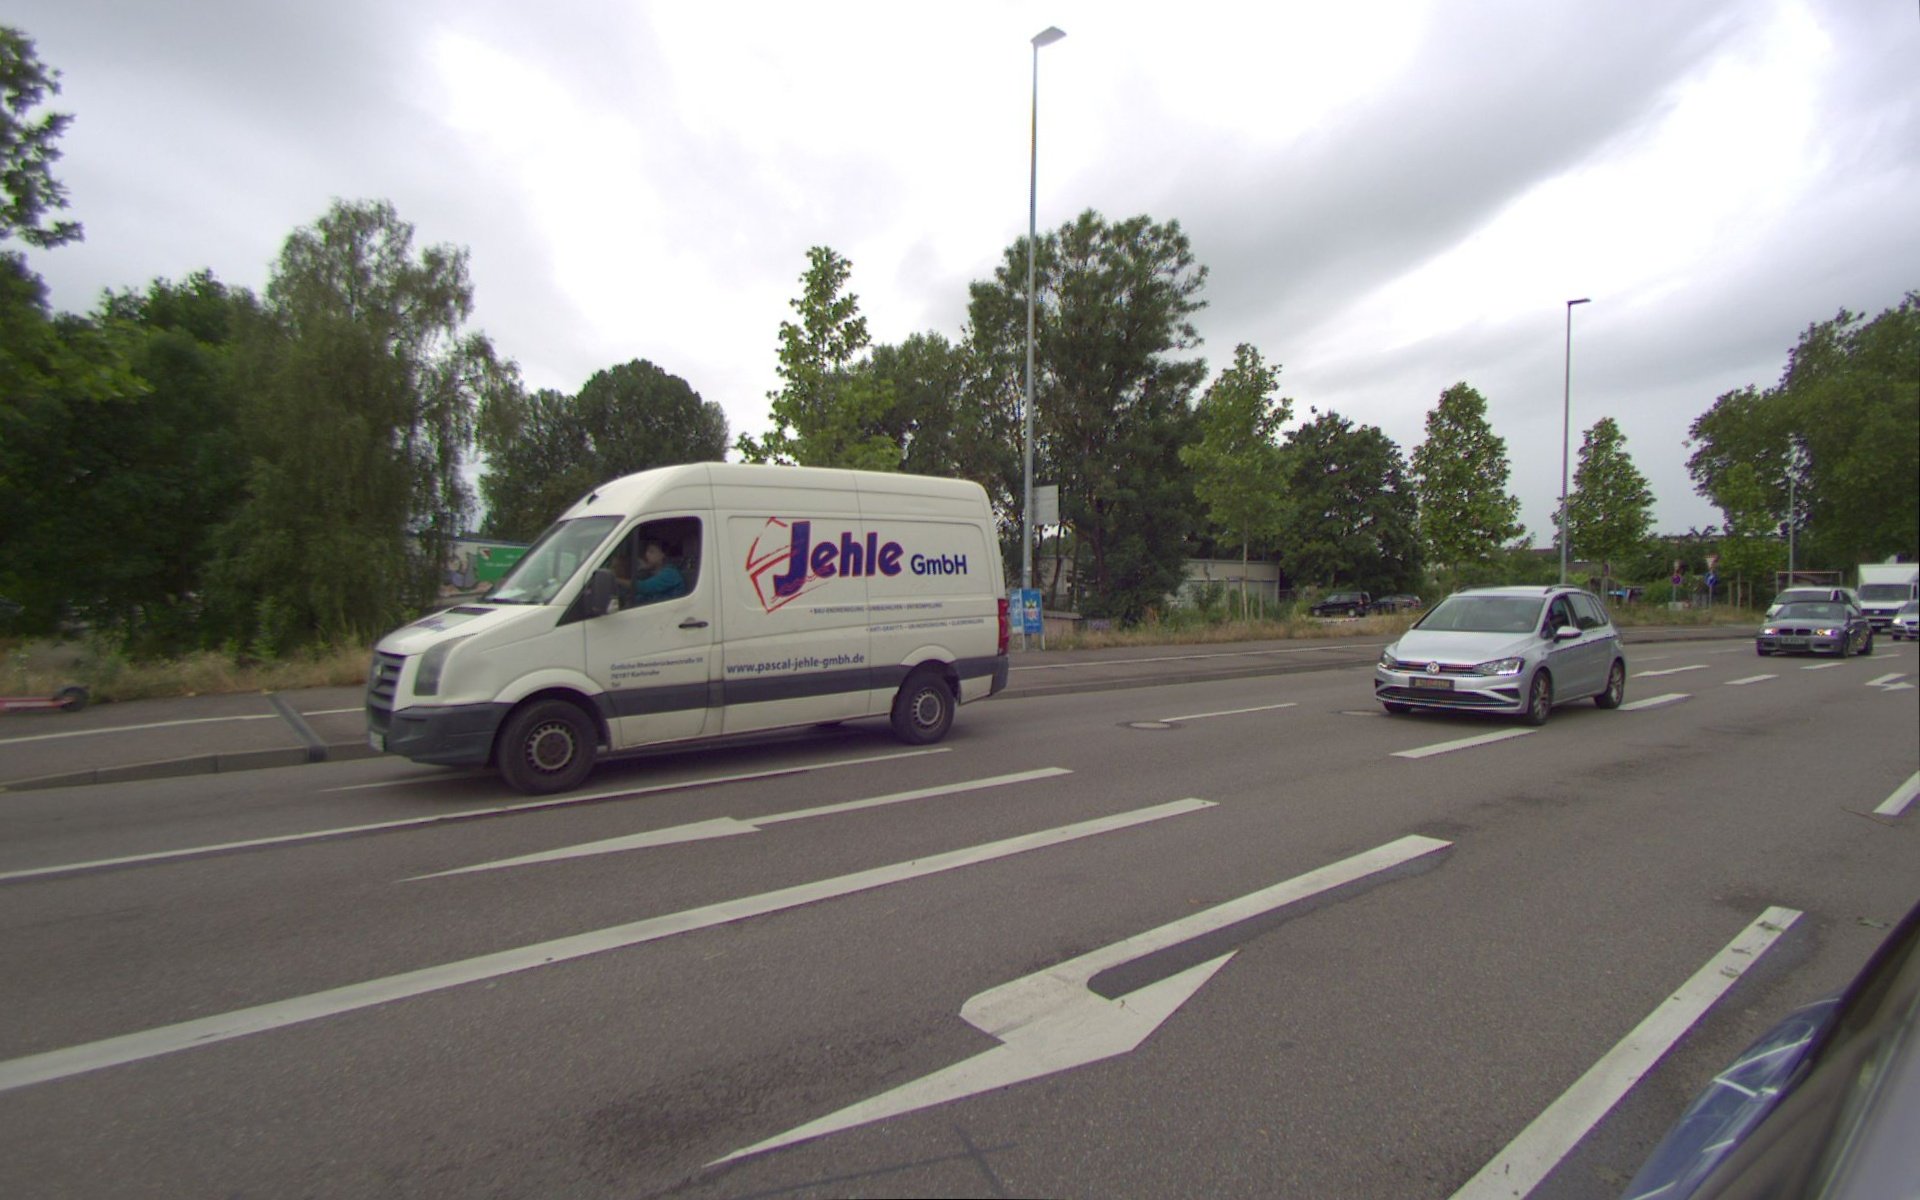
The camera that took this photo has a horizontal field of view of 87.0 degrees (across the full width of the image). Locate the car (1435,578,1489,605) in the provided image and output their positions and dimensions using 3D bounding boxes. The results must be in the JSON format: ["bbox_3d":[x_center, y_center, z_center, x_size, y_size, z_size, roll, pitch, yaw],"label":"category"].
[{"bbox_3d":[40.137,-0.653,80.851,4.478,2.039,2.314,1,-1,-41],"label":"car"}]

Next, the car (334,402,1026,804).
[{"bbox_3d":[-2.339,0.001,9.628,5.798,2.659,2.660,0,0,-42],"label":"car"}]

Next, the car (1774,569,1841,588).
[{"bbox_3d":[68.651,-1.728,82.013,1.781,1.527,3.990,-1,1,-44],"label":"car"}]

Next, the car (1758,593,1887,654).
[{"bbox_3d":[21.684,0.528,25.389,4.268,1.408,1.873,0,0,-41],"label":"car"}]

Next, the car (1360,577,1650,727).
[{"bbox_3d":[6.911,0.523,12.671,4.127,1.571,1.858,0,1,-41],"label":"car"}]

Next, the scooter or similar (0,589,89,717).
[{"bbox_3d":[-9.466,0.528,10.141,1.027,1.229,0.376,-3,4,-33],"label":"scooter or similar"}]

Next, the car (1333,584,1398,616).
[{"bbox_3d":[27.568,-0.003,68.745,4.476,2.038,2.188,1,2,-40],"label":"car"}]

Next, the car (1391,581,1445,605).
[{"bbox_3d":[33.697,-0.477,74.412,4.572,1.717,2.119,0,0,-44],"label":"car"}]

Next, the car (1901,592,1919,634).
[{"bbox_3d":[34.367,0.428,35.451,3.782,1.437,1.680,0,0,-41],"label":"car"}]

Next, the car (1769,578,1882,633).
[{"bbox_3d":[32.176,0.186,37.575,5.024,1.904,2.100,0,0,-36],"label":"car"}]

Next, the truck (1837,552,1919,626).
[{"bbox_3d":[40.629,-0.452,43.440,6.416,2.960,2.829,0,0,-33],"label":"truck"}]

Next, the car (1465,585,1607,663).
[{"bbox_3d":[12.754,0.480,22.329,3.706,1.581,1.653,0,0,-42],"label":"car"}]
